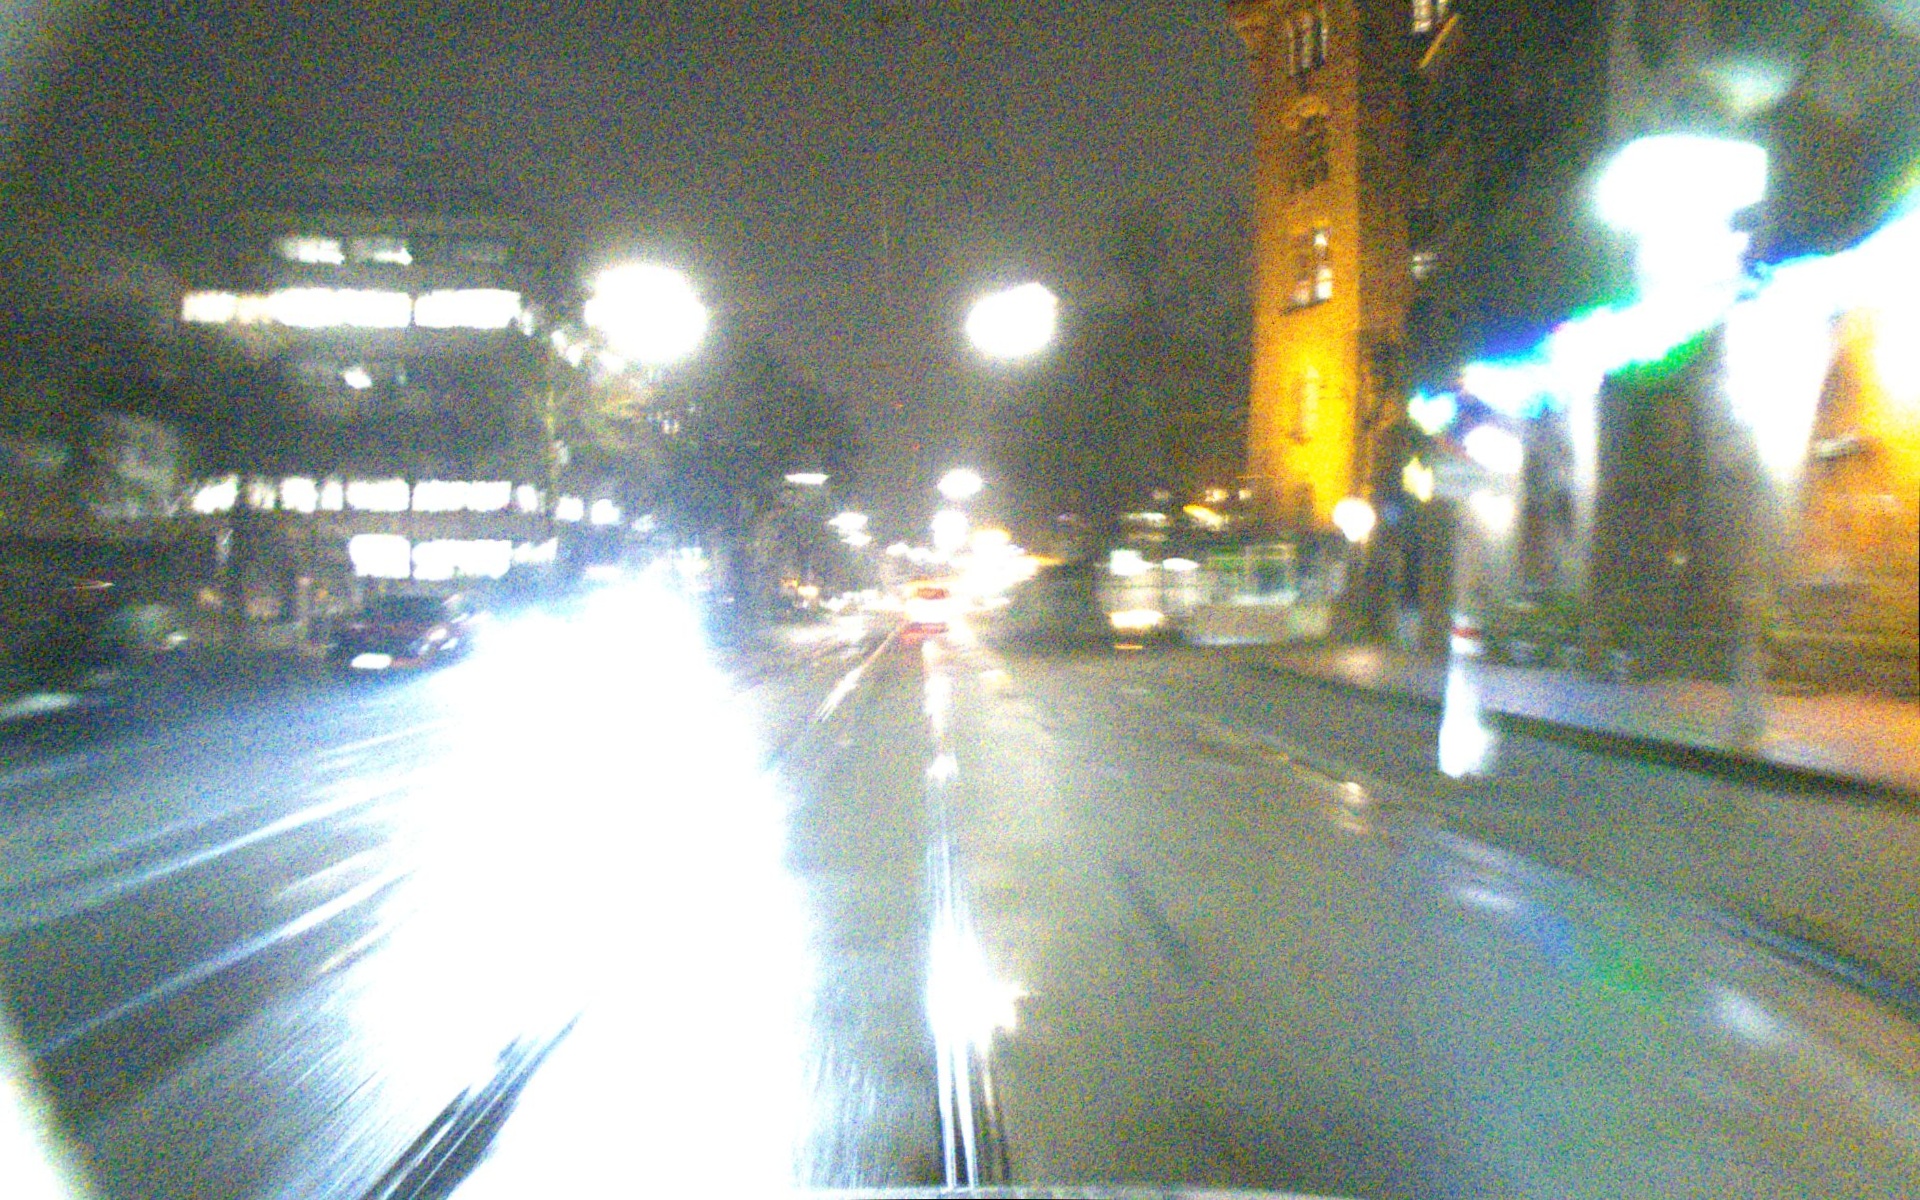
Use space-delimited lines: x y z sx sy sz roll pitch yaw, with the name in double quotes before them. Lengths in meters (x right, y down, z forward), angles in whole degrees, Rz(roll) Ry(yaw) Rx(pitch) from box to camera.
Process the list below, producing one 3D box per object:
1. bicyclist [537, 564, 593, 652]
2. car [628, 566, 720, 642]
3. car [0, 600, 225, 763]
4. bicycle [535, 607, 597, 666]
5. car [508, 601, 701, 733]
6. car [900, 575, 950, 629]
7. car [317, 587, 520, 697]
"bicyclist" -7.809 0.154 32.769 0.767 1.684 1.206 -3 0 -1
"car" -10.330 0.089 60.182 2.140 2.637 6.392 0 1 1
"car" -9.242 0.767 17.198 1.657 1.446 3.911 -1 1 -4
"bicycle" -7.785 0.700 32.764 0.767 1.101 1.918 -3 0 -1
"car" -4.613 0.815 22.014 1.740 1.544 4.050 0 1 -1
"car" -1.672 0.091 77.141 2.199 2.402 4.391 0 0 -3
"car" -9.216 0.669 28.575 1.929 1.684 4.601 2 0 0
